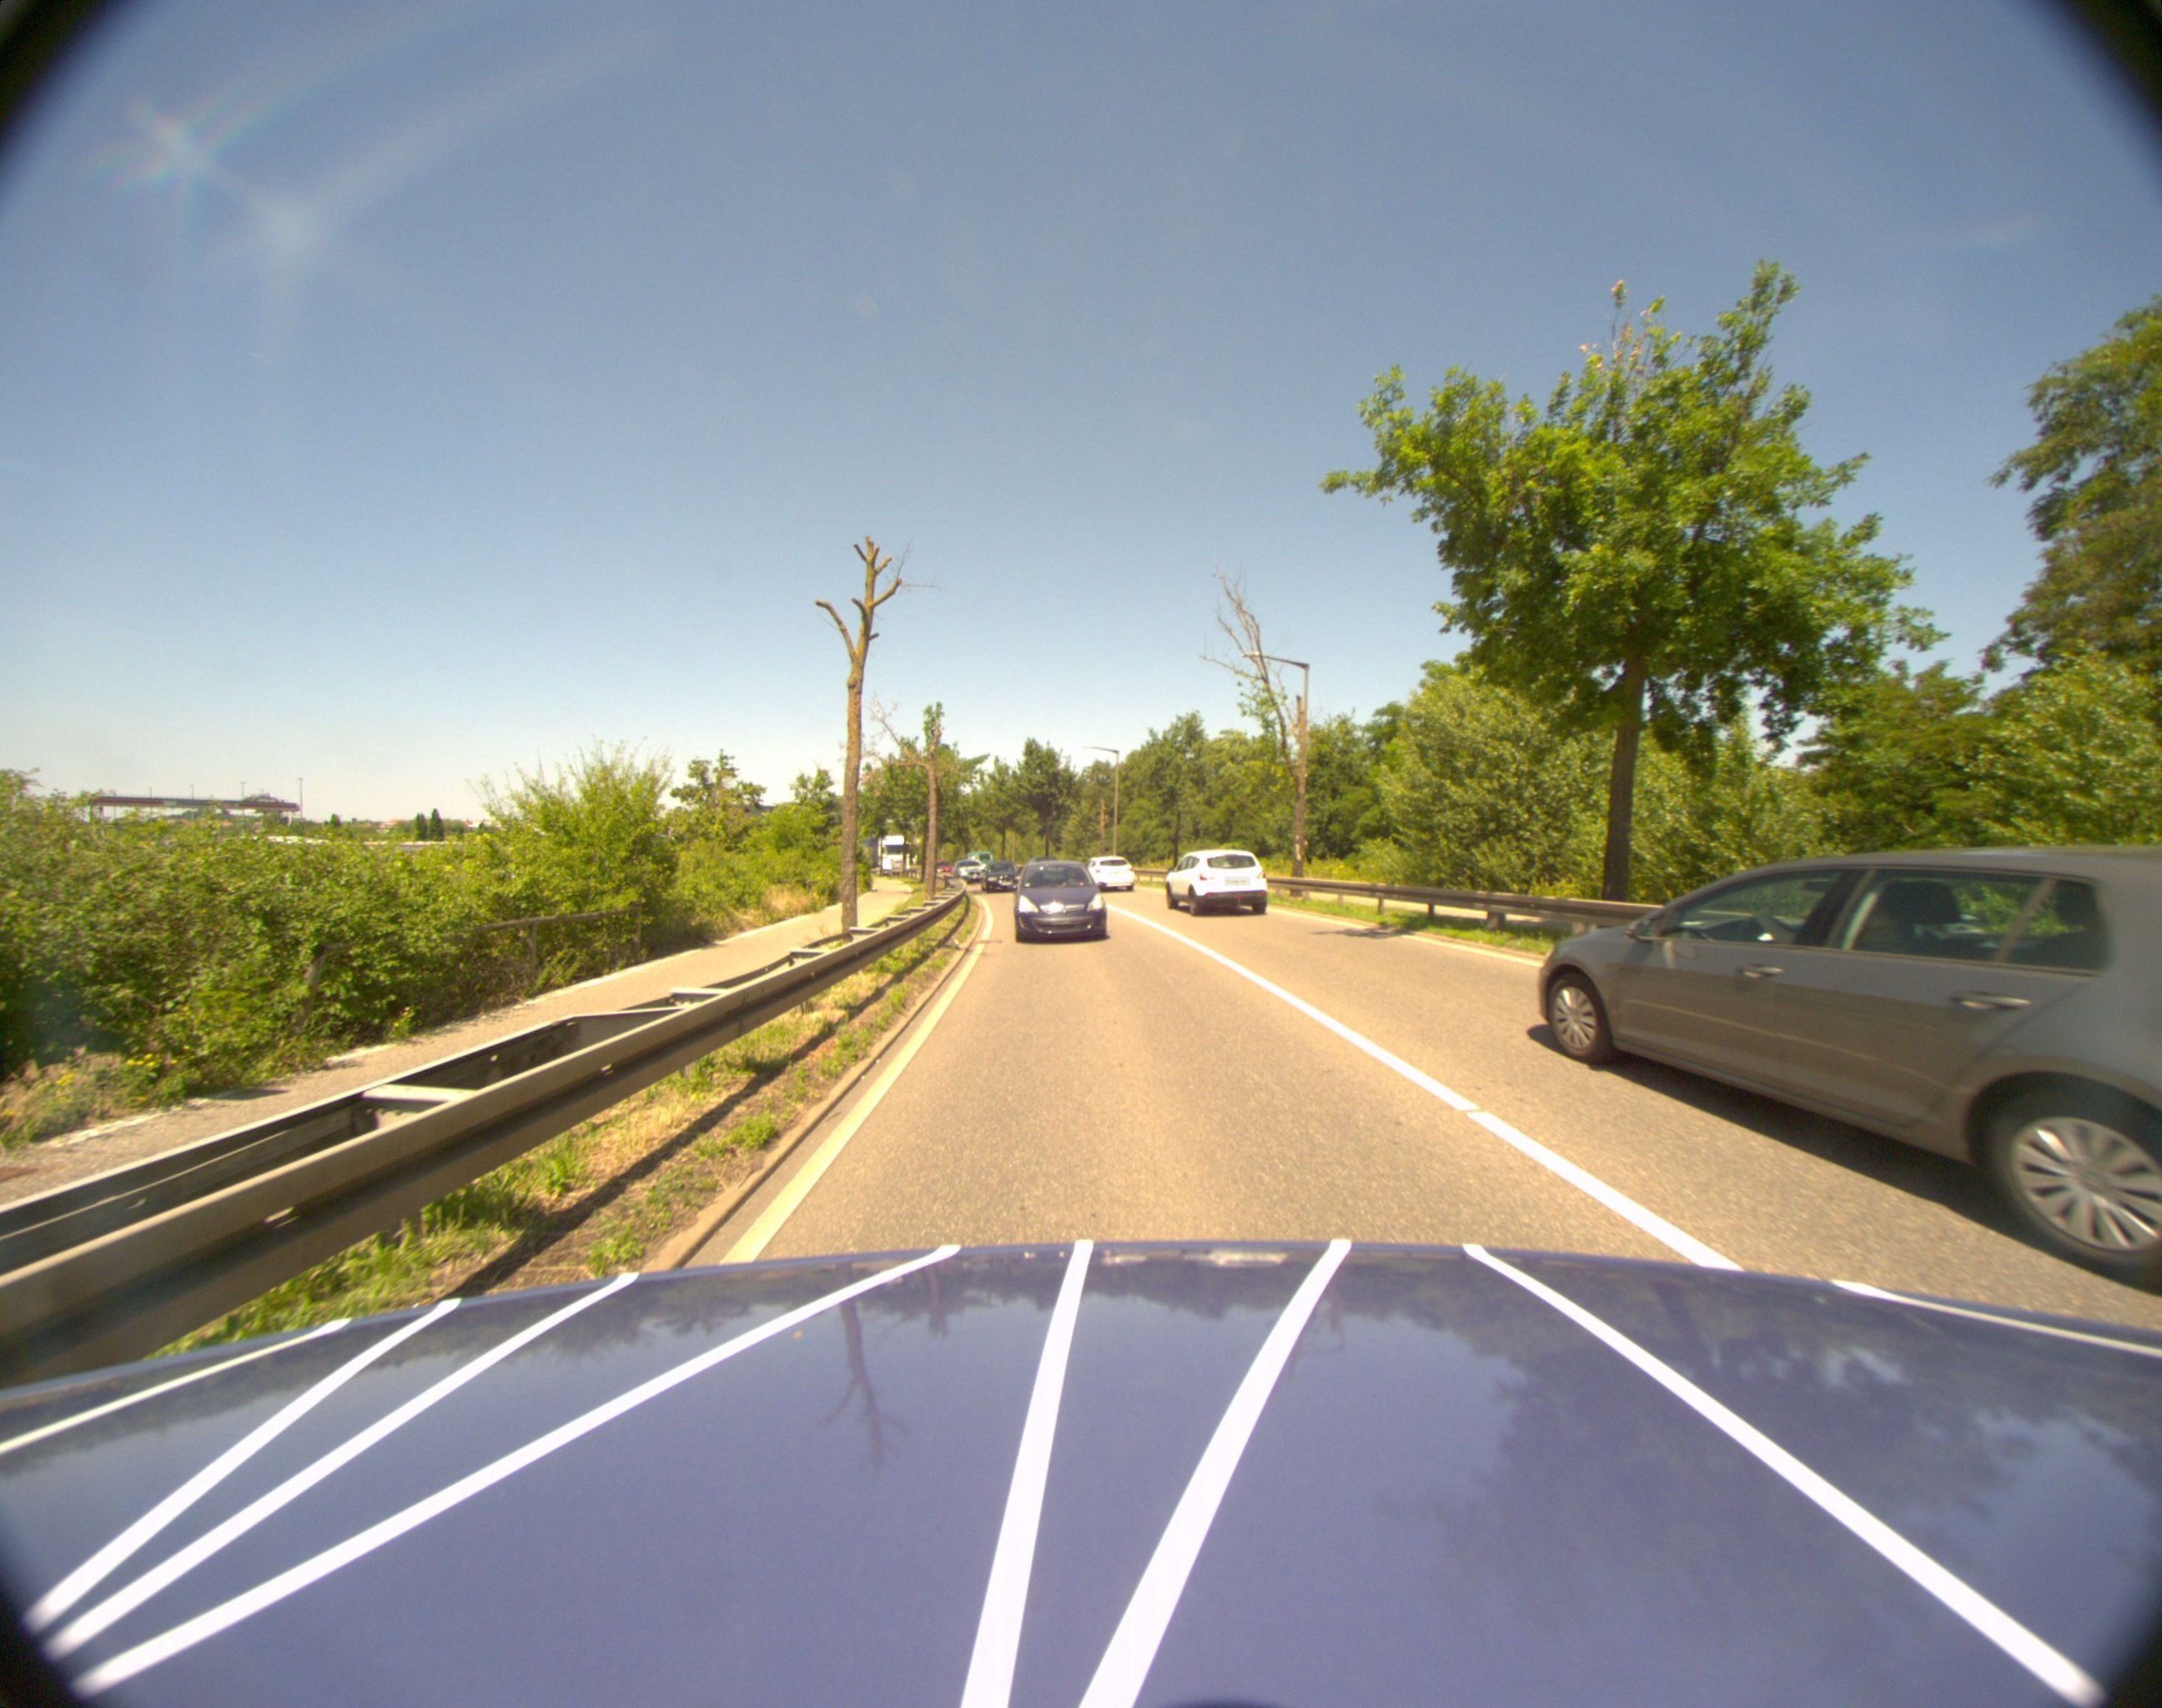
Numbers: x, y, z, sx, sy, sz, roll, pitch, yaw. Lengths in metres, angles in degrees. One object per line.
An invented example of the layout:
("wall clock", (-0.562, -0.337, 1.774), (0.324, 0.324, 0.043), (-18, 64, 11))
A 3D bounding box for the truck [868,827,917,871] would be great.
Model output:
("truck", (-19.597, -0.478, 78.547), (2.863, 4.244, 8.796), (-2, 0, -28))

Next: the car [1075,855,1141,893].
("car", (1.062, 0.805, 32.289), (1.707, 1.438, 4.455), (-2, 0, -12))

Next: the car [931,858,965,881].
("car", (-10.676, 1.200, 60.832), (1.903, 1.645, 4.249), (-2, 2, -20))

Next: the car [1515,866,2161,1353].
("car", (4.164, 0.816, 3.685), (1.721, 1.419, 4.106), (-1, 0, -1))

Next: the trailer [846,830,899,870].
("trailer", (-24.060, -0.378, 87.025), (2.887, 4.189, 13.977), (-2, 0, -28))

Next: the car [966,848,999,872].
("car", (-8.425, 0.533, 64.634), (1.837, 1.927, 4.768), (-1, 0, -19))

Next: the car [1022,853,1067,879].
("car", (-2.301, 0.679, 46.542), (1.853, 1.459, 4.735), (-2, 0, -14))

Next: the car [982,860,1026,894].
("car", (-3.574, 1.025, 34.949), (1.571, 1.408, 4.118), (-2, 0, -11))

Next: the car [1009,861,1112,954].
("car", (-0.498, 0.923, 14.976), (1.699, 1.459, 4.381), (-2, 0, -4))

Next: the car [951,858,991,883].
("car", (-6.812, 0.975, 46.957), (1.819, 1.420, 3.709), (-2, 0, -18))

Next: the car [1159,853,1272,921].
("car", (3.358, 0.755, 19.805), (1.751, 1.537, 4.390), (-1, 0, -5))
